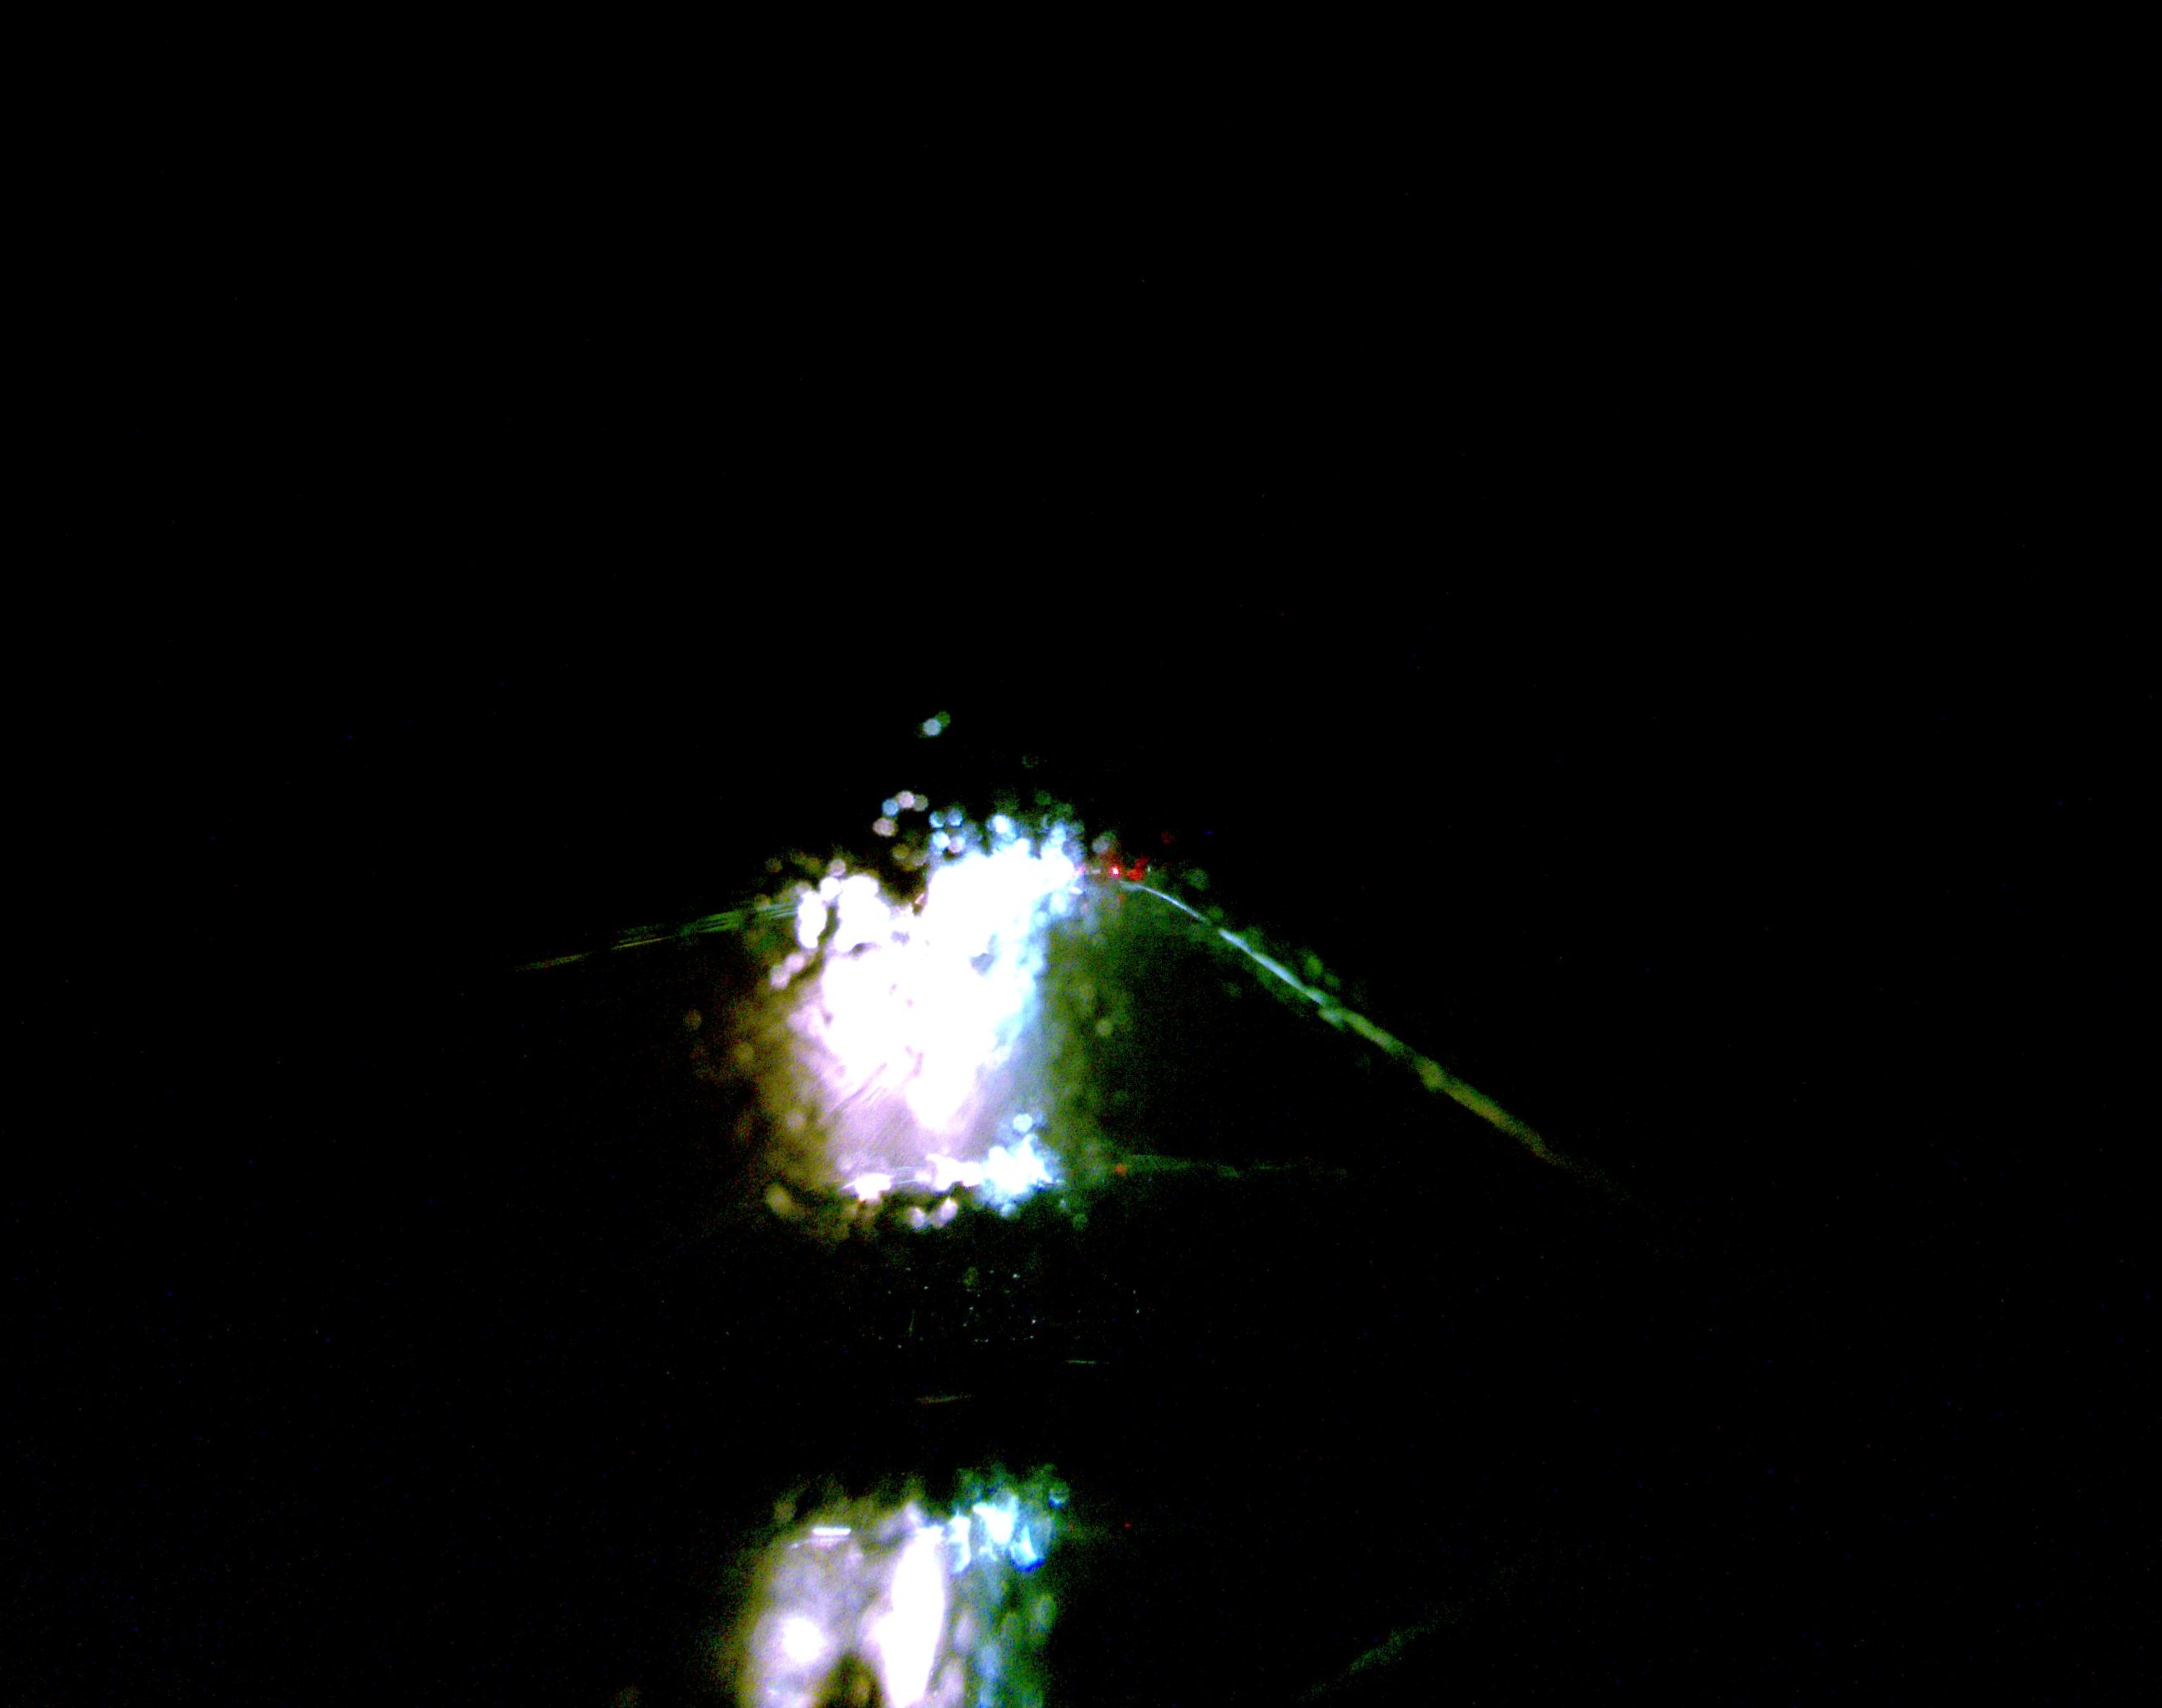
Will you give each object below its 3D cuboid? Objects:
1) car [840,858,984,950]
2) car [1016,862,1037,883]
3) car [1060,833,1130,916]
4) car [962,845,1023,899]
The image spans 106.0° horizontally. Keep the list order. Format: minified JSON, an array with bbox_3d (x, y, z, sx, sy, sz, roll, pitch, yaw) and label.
[{"bbox_3d":[-2.990,0.824,15.270,1.845,1.489,3.993,0,0,0],"label":"car"},{"bbox_3d":[-4.506,1.505,67.736,1.591,1.510,3.596,-4,0,-3],"label":"car"},{"bbox_3d":[0.413,0.674,28.035,2.175,2.557,4.505,1,-1,-1],"label":"car"},{"bbox_3d":[-3.569,0.707,33.590,1.987,2.068,4.345,-1,0,0],"label":"car"}]
